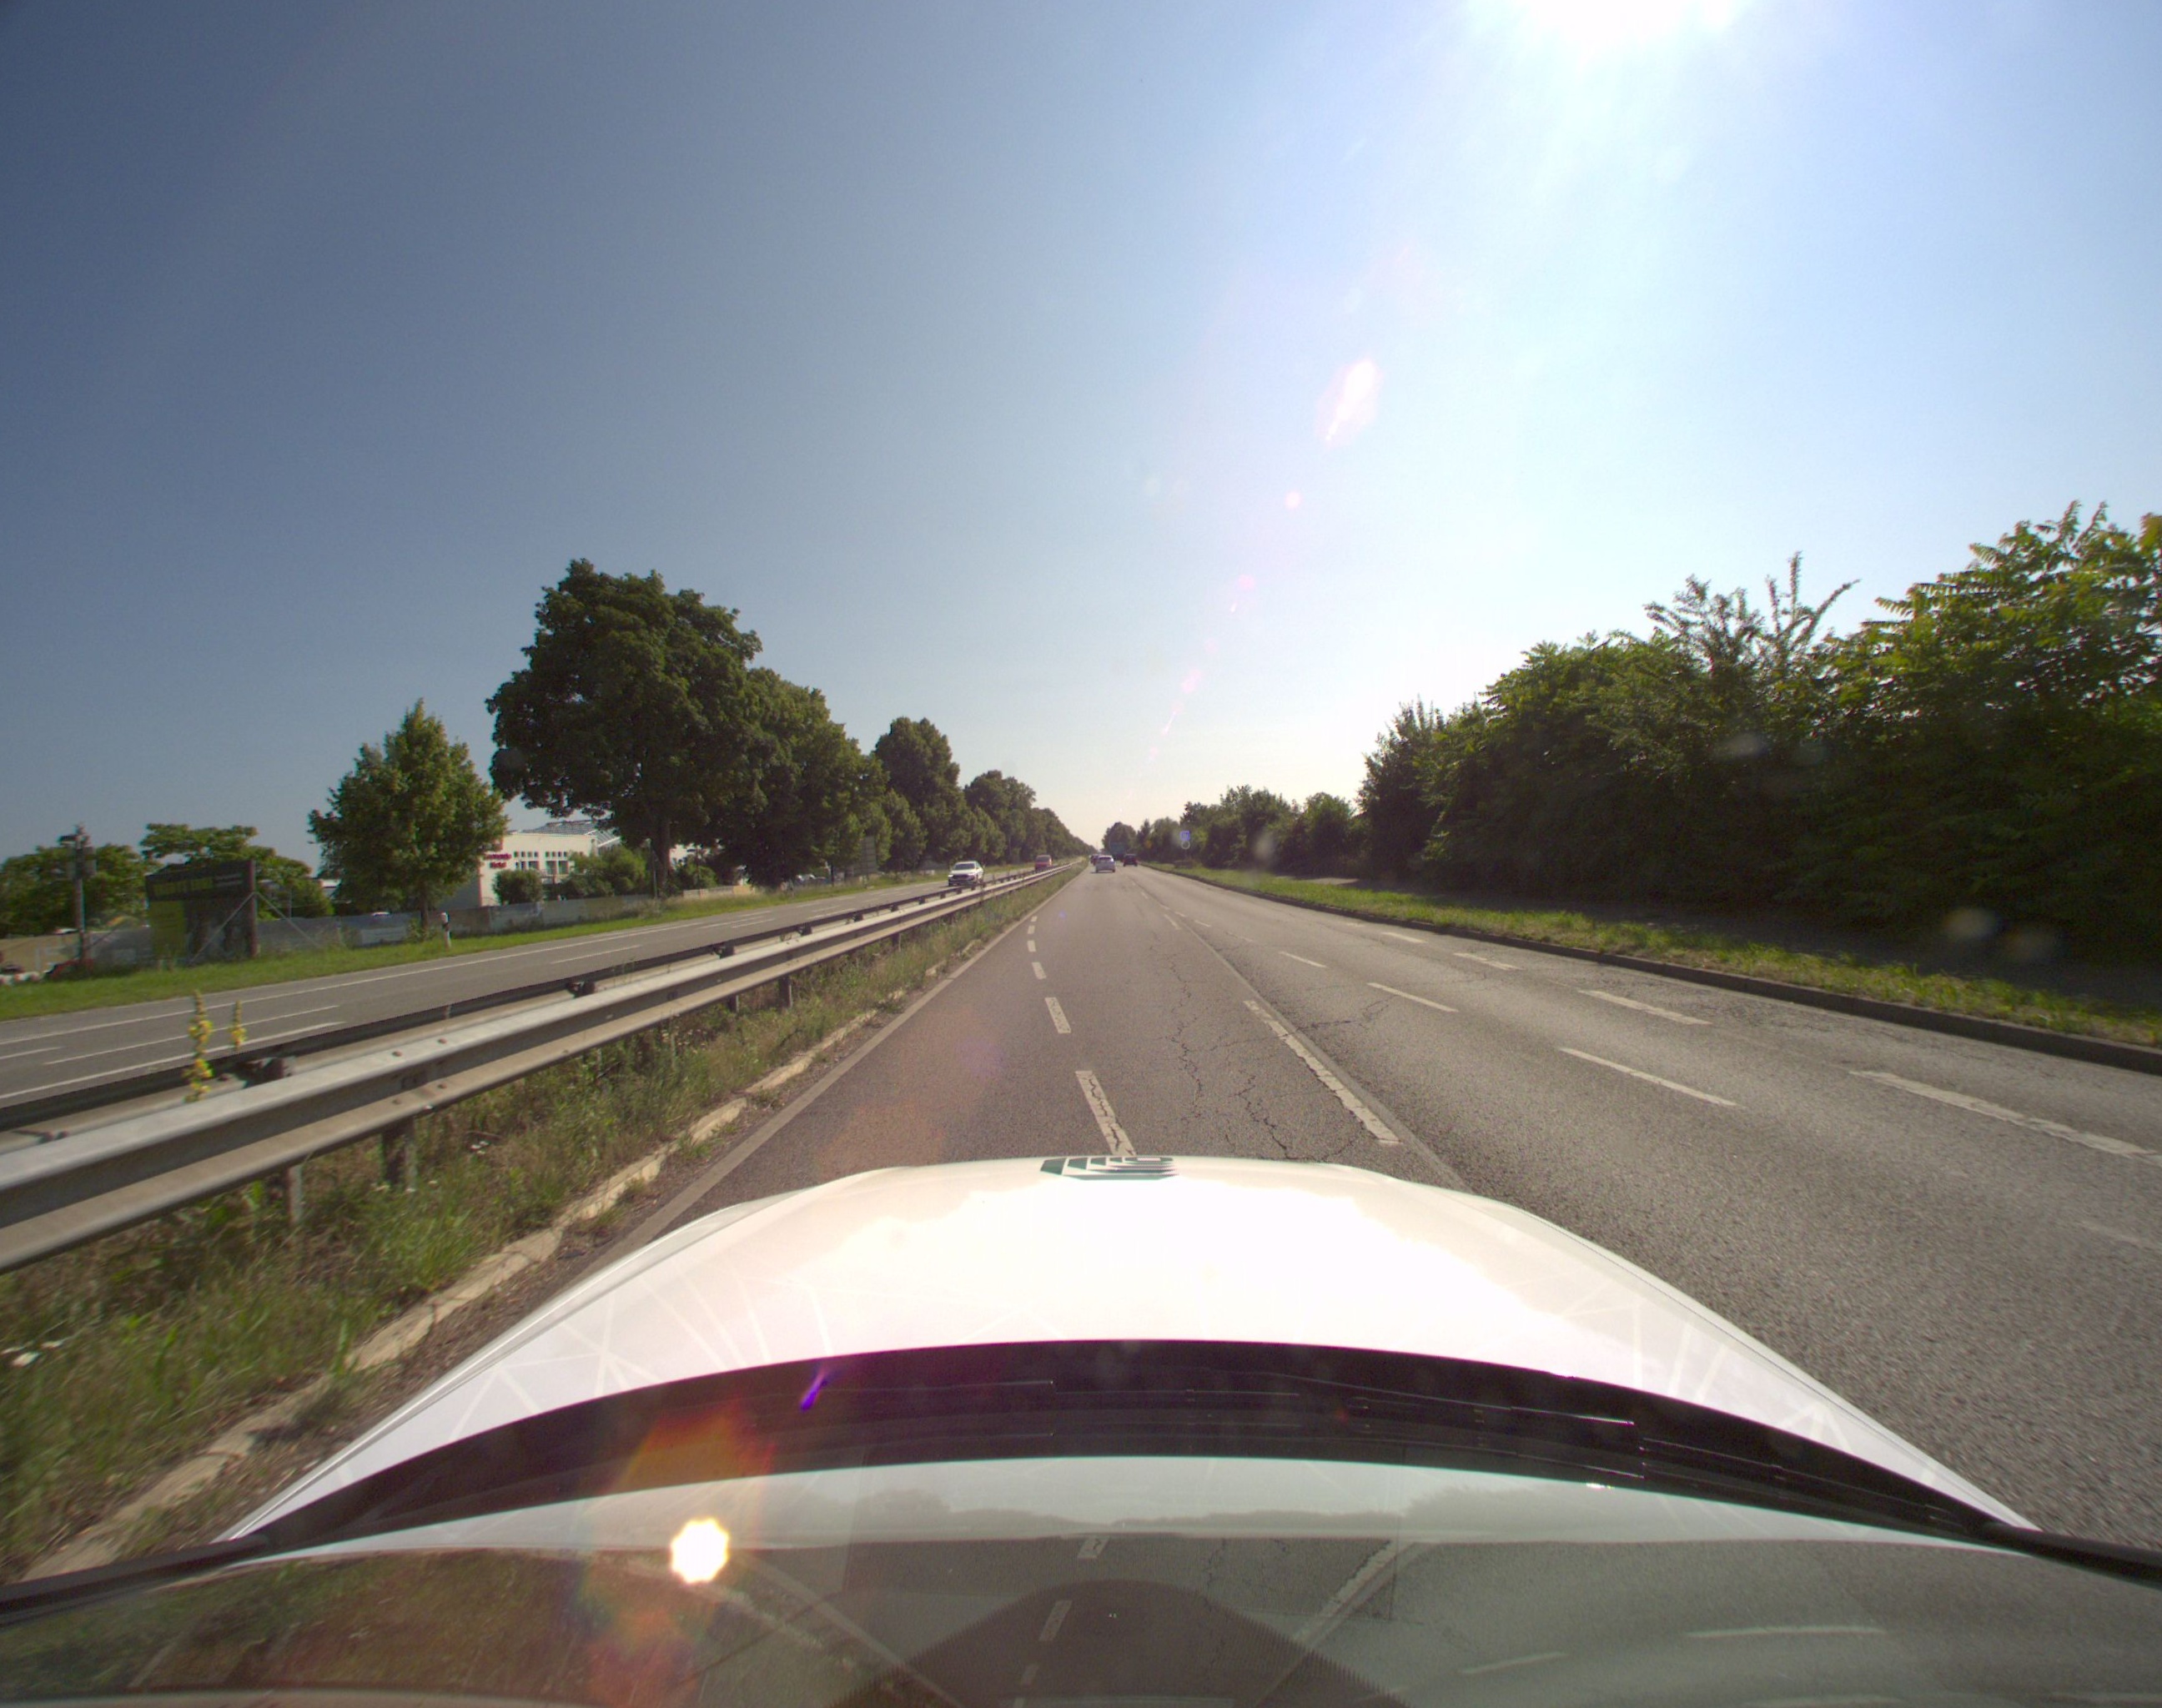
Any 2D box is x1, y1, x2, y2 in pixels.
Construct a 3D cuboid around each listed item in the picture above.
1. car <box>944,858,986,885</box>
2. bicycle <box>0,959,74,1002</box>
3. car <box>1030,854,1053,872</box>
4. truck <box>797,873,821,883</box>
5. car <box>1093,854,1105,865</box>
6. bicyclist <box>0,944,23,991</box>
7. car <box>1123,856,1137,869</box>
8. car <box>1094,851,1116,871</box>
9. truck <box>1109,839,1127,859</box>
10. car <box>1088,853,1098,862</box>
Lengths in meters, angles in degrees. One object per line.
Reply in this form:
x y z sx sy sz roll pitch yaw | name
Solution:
-7.343 1.094 52.017 1.987 1.502 4.091 -4 0 0 | car
-29.316 3.499 21.975 0.830 0.950 2.525 -4 0 22 | bicycle
-3.763 0.848 78.266 1.906 1.502 4.091 -4 0 0 | car
-59.949 5.247 179.339 4.485 2.013 2.053 -2 -1 1 | truck
2.470 0.763 110.851 1.566 1.414 3.279 -4 0 2 | car
-29.367 3.089 21.922 0.604 1.216 0.898 -4 0 22 | bicyclist
5.773 0.976 95.969 1.566 1.414 3.279 -3 -1 2 | car
2.142 0.601 71.264 1.791 1.552 4.003 -2 0 2 | car
6.636 -0.922 146.816 2.881 3.428 9.173 -4 0 2 | truck
2.113 0.659 145.601 1.566 1.414 3.279 -4 0 2 | car
